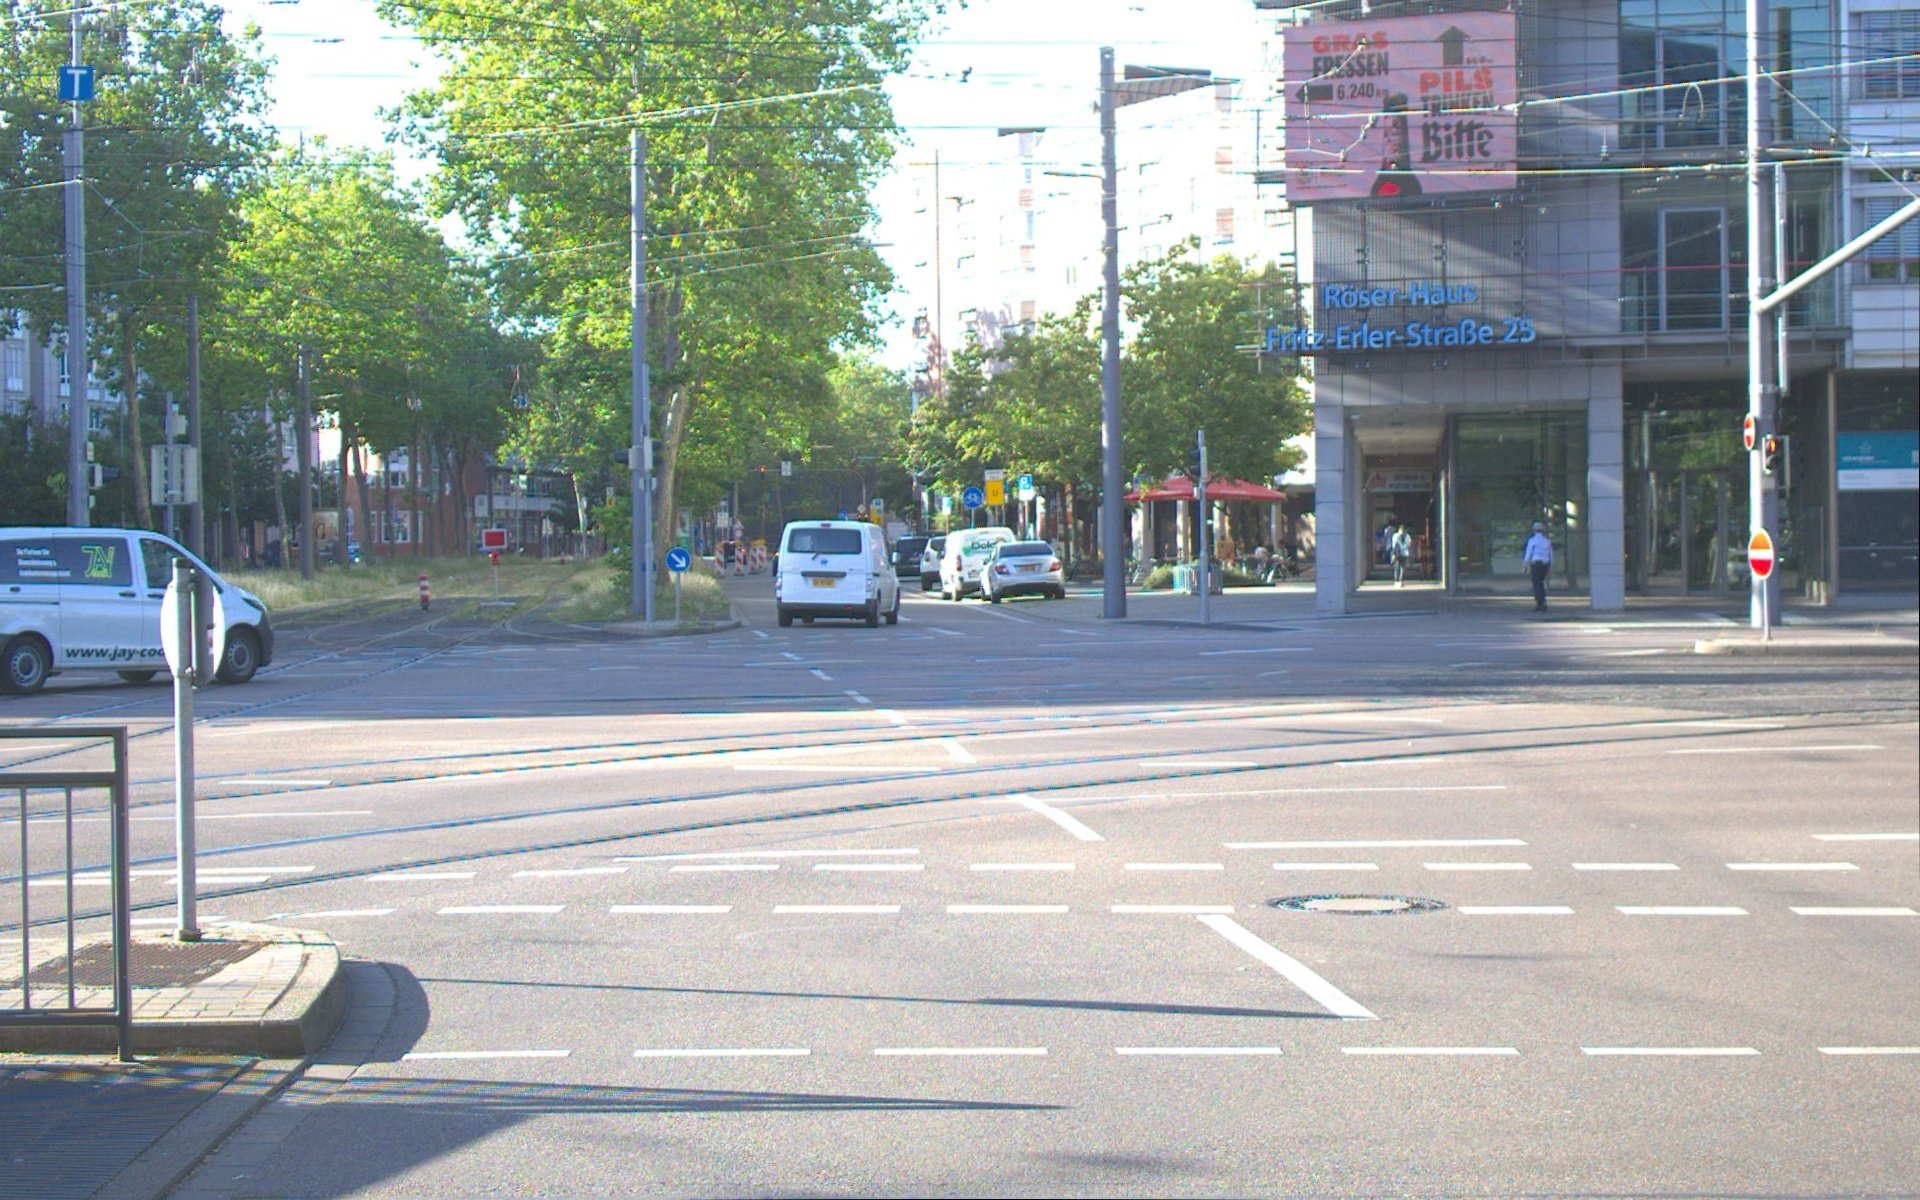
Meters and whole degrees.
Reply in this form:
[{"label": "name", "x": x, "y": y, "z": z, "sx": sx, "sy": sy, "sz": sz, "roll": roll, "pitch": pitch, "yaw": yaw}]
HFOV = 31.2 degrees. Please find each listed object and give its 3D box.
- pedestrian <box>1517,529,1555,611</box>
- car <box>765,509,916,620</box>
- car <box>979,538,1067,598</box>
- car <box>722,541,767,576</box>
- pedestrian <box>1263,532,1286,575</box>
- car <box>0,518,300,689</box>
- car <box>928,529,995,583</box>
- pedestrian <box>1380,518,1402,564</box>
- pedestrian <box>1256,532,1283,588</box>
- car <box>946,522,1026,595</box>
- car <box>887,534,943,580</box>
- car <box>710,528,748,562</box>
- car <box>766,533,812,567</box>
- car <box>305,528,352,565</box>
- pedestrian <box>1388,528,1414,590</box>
[{"label": "pedestrian", "x": 10.590, "y": -0.550, "z": 63.215, "sx": 0.612, "sy": 1.502, "sz": 0.579, "roll": -1, "pitch": 1, "yaw": 4}, {"label": "car", "x": -2.068, "y": -0.646, "z": 60.681, "sx": 1.756, "sy": 1.860, "sz": 4.524, "roll": -1, "pitch": 1, "yaw": 10}, {"label": "car", "x": 1.492, "y": -0.787, "z": 82.775, "sx": 1.993, "sy": 1.371, "sz": 4.000, "roll": -1, "pitch": 1, "yaw": -1}, {"label": "car", "x": -9.200, "y": -1.780, "z": 147.146, "sx": 1.797, "sy": 1.437, "sz": 4.000, "roll": 1, "pitch": 1, "yaw": -2}, {"label": "pedestrian", "x": 9.599, "y": -1.425, "z": 104.936, "sx": 0.577, "sy": 1.284, "sz": 0.910, "roll": -1, "pitch": 1, "yaw": -1}, {"label": "car", "x": -10.212, "y": 0.001, "z": 39.464, "sx": 1.965, "sy": 1.842, "sz": 5.320, "roll": 0, "pitch": 1, "yaw": 34}, {"label": "car", "x": 0.036, "y": -1.360, "z": 105.216, "sx": 1.993, "sy": 1.612, "sz": 4.000, "roll": -1, "pitch": 1, "yaw": 0}, {"label": "pedestrian", "x": 16.423, "y": -2.250, "z": 131.124, "sx": 0.744, "sy": 1.708, "sz": 0.612, "roll": -1, "pitch": 1, "yaw": -1}, {"label": "pedestrian", "x": 9.447, "y": -1.228, "z": 104.937, "sx": 0.744, "sy": 1.708, "sz": 0.612, "roll": -1, "pitch": 1, "yaw": -1}, {"label": "car", "x": 0.648, "y": -1.096, "z": 89.570, "sx": 1.993, "sy": 1.853, "sz": 4.000, "roll": -1, "pitch": 1, "yaw": -1}, {"label": "car", "x": -1.641, "y": -1.599, "z": 126.667, "sx": 1.993, "sy": 1.612, "sz": 4.000, "roll": -1, "pitch": 1, "yaw": 0}, {"label": "car", "x": -13.793, "y": -3.277, "z": 205.253, "sx": 1.993, "sy": 2.007, "sz": 4.000, "roll": -1, "pitch": 1, "yaw": -1}, {"label": "car", "x": -7.396, "y": -2.185, "z": 149.040, "sx": 1.797, "sy": 1.437, "sz": 4.000, "roll": -1, "pitch": 1, "yaw": -1}, {"label": "car", "x": -34.633, "y": -2.949, "z": 188.588, "sx": 1.993, "sy": 2.007, "sz": 4.001, "roll": -1, "pitch": 1, "yaw": -3}, {"label": "pedestrian", "x": 10.724, "y": -0.999, "z": 83.611, "sx": 0.612, "sy": 1.502, "sz": 0.579, "roll": -1, "pitch": 1, "yaw": 7}]
